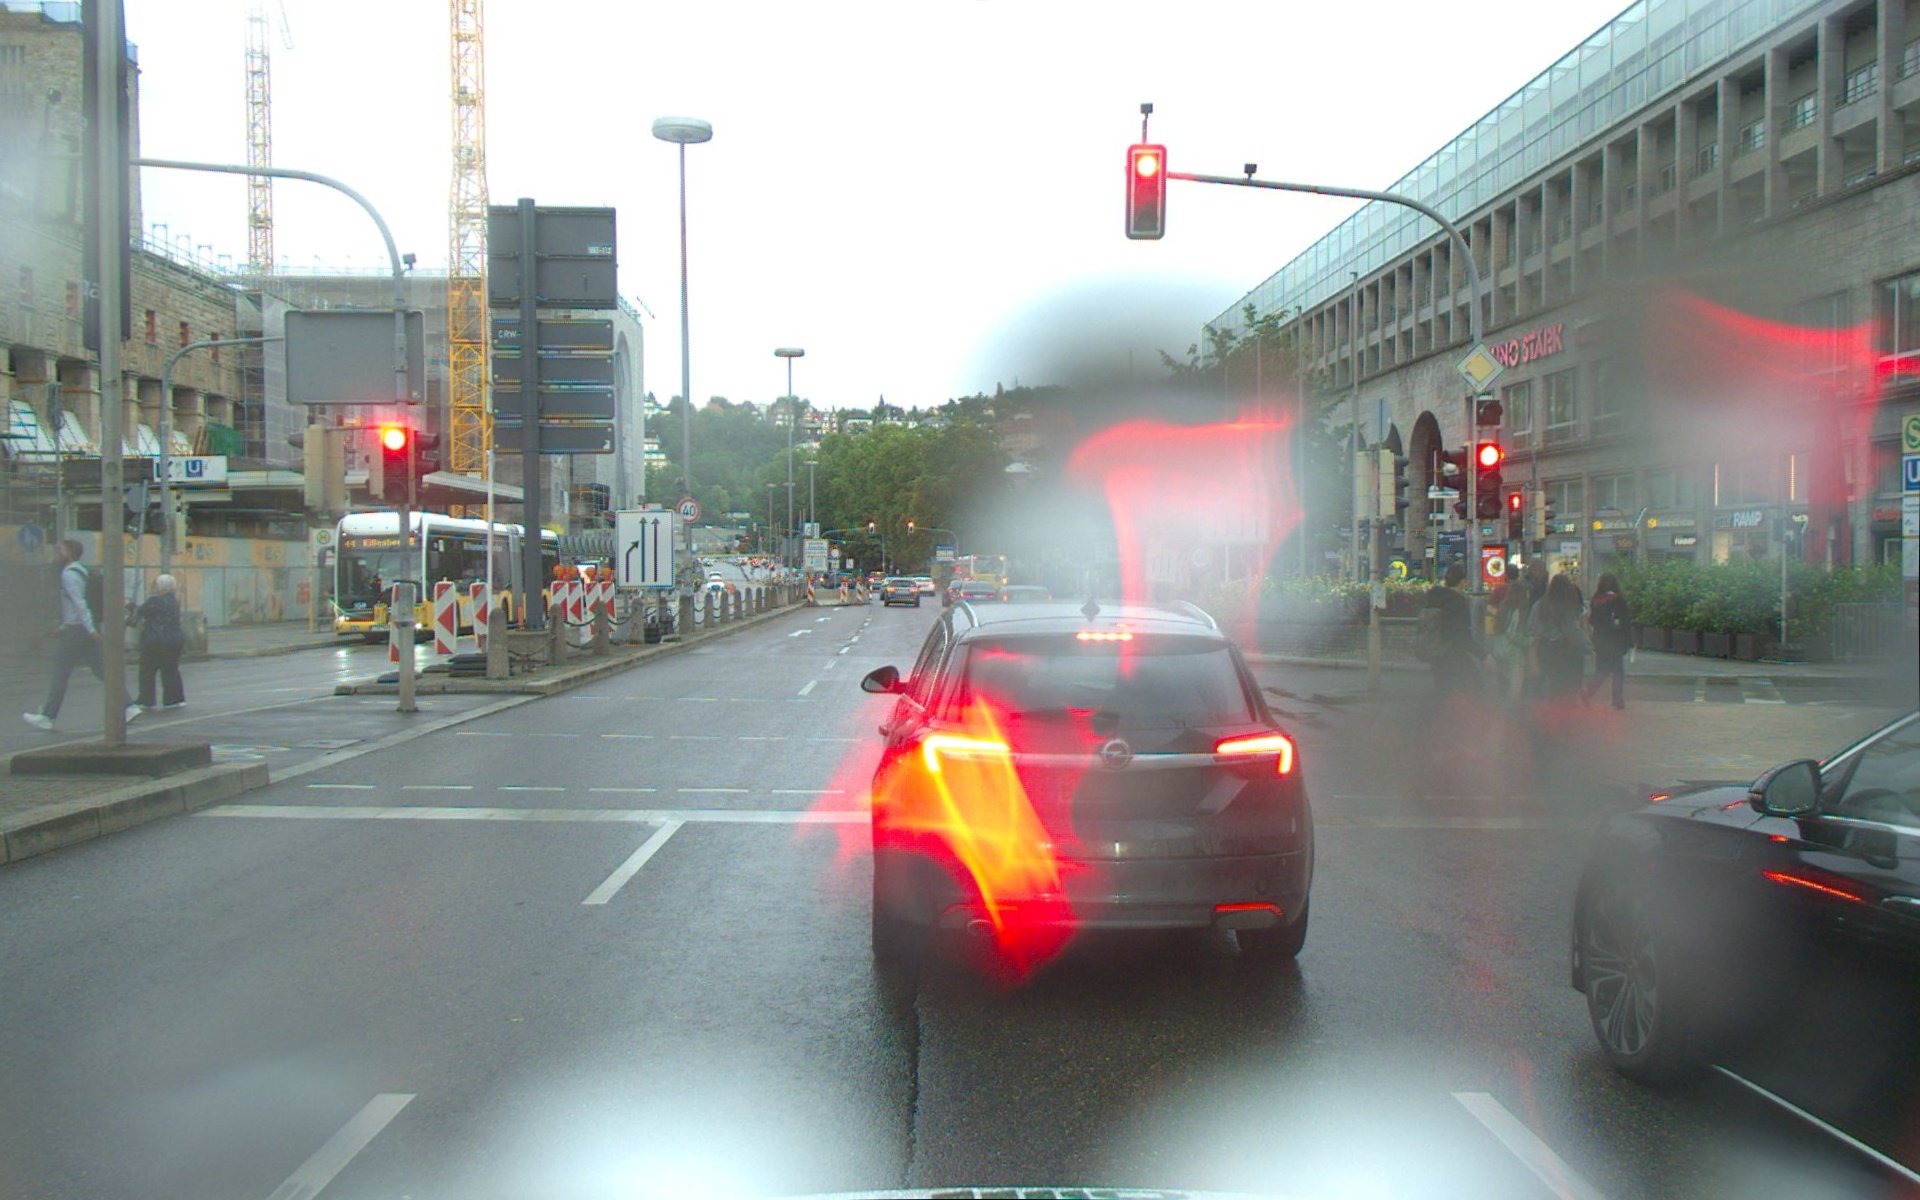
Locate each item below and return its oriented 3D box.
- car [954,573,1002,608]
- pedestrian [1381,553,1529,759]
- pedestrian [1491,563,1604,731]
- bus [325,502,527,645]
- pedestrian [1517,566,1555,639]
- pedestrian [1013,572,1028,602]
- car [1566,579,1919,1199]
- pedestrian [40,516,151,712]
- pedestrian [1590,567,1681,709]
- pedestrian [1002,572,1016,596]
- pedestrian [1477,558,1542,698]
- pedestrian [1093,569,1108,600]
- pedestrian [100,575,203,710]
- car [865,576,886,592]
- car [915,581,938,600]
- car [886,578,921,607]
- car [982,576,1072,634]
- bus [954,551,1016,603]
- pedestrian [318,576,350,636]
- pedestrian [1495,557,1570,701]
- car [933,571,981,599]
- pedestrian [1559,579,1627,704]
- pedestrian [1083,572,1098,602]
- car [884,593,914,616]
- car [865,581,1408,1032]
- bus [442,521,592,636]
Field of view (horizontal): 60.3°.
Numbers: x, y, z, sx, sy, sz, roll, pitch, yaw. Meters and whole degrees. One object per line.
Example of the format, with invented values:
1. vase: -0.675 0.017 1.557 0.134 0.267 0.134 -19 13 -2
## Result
1. car: 0.720 -0.379 70.739 1.718 1.422 4.645 1 0 -3
2. pedestrian: 4.473 0.493 14.984 1.074 1.782 0.653 -2 0 -4
3. pedestrian: 6.007 0.471 16.944 0.778 1.654 0.899 1 0 -4
4. bus: -15.215 -0.687 48.131 2.614 3.665 10.237 1 0 -1
5. pedestrian: 16.373 0.067 47.001 0.751 2.049 0.820 1 0 41
6. pedestrian: 5.063 -1.051 138.557 1.174 2.478 1.228 1 0 0
7. car: 3.041 0.733 3.430 1.757 1.528 4.627 1 0 -2
8. pedestrian: -8.664 0.139 16.598 0.784 1.923 0.619 1 0 -9
9. pedestrian: 7.995 0.444 19.601 0.783 1.636 0.619 1 0 -5
10. pedestrian: 4.517 -1.440 152.343 1.174 2.186 1.228 1 0 0
11. pedestrian: 7.119 0.358 21.437 0.560 1.783 0.676 1 0 42
12. pedestrian: 8.010 -0.874 94.280 0.748 1.720 0.824 1 0 -5
13. pedestrian: -9.753 0.505 19.973 0.855 1.588 0.786 1 0 -4
14. car: -7.657 -1.440 149.818 1.723 1.422 3.563 1 0 -1
15. car: -2.654 -0.717 130.829 1.808 1.422 3.563 1 0 -1
16. car: -2.936 -0.367 85.551 1.718 1.422 4.536 1 0 -2
17. car: 1.709 0.116 43.411 1.810 1.422 3.661 1 0 -7
18. bus: 1.694 -1.573 120.929 4.089 3.529 14.651 1 0 -1
19. pedestrian: -18.103 0.176 47.826 0.646 1.710 0.644 1 0 -1
20. pedestrian: 7.109 0.358 20.553 0.740 1.747 0.466 1 0 -5
21. car: -0.210 -0.768 87.994 1.722 1.422 4.390 1 0 -11
22. pedestrian: 7.695 0.499 20.108 0.665 1.500 0.366 1 0 -6
23. pedestrian: 7.548 -0.768 95.591 0.748 1.720 0.824 1 0 -5
24. car: -3.894 0.275 105.663 1.808 1.422 3.563 1 0 -1
25. car: 0.564 0.709 7.647 1.837 1.512 3.999 1 0 -1
26. bus: -15.374 -0.679 58.314 2.614 3.665 10.209 1 0 -1
